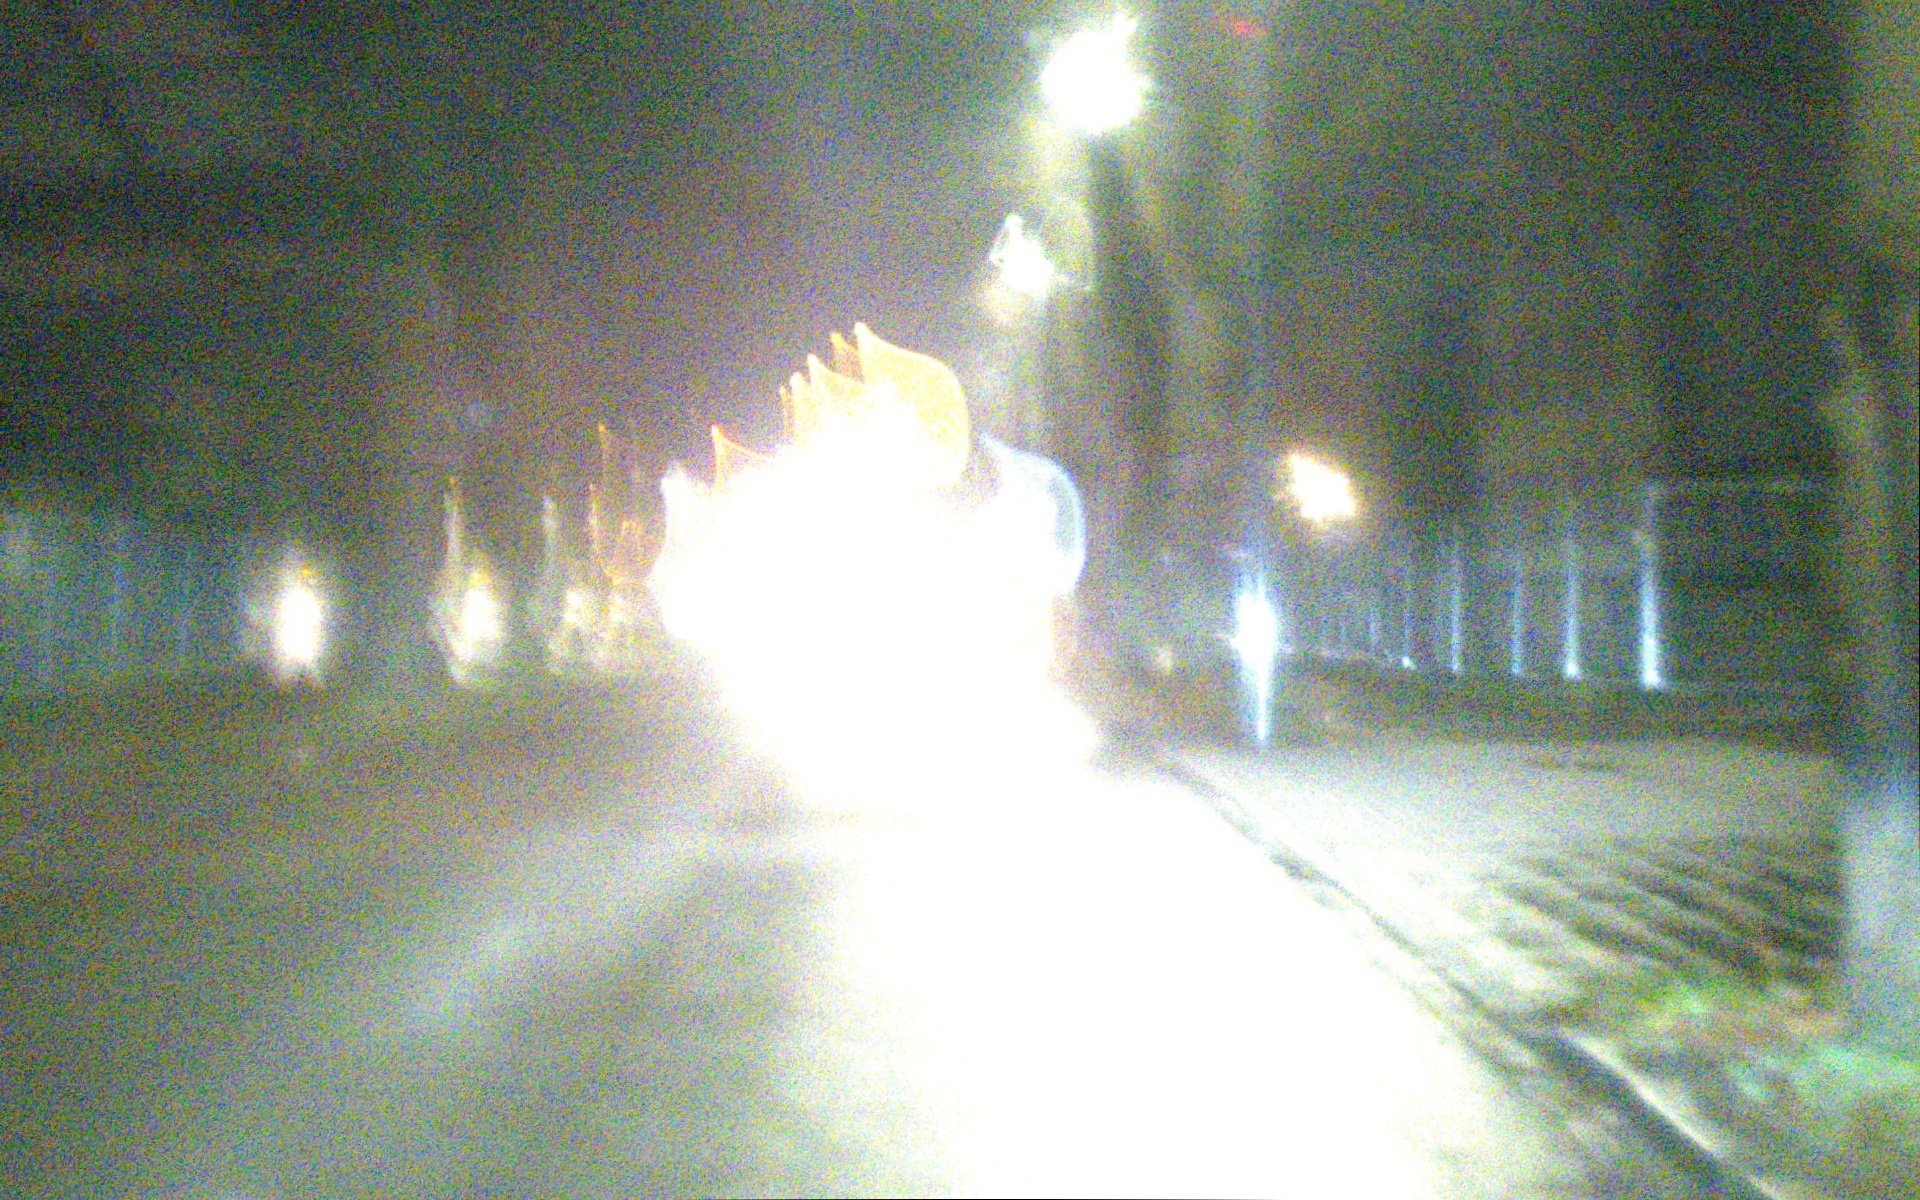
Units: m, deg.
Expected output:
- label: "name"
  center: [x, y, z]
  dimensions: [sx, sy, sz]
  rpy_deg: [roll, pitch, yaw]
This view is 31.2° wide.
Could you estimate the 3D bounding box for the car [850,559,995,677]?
- label: "car"
  center: [-0.608, 0.237, 52.225]
  dimensions: [1.993, 1.678, 4.001]
  rpy_deg: [1, 1, -3]
